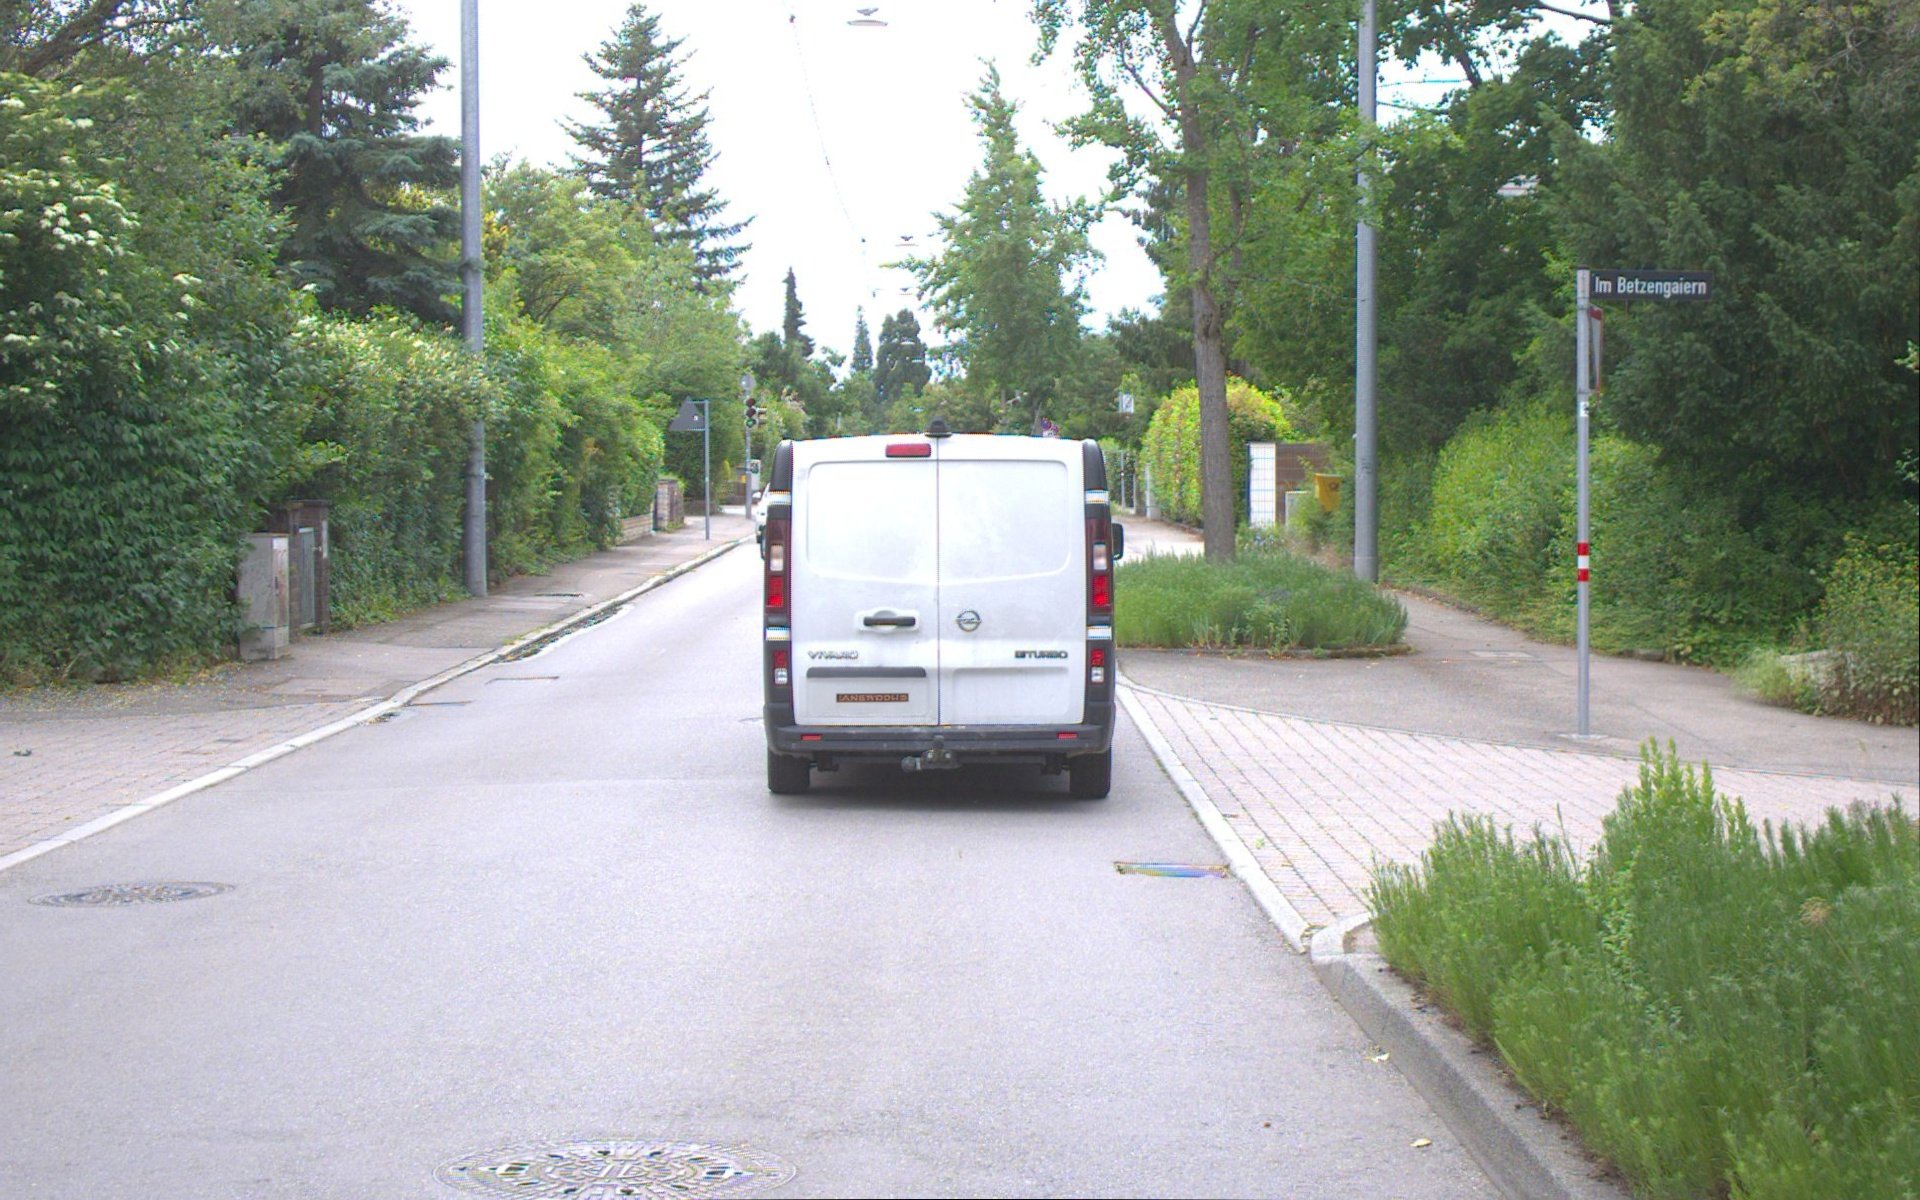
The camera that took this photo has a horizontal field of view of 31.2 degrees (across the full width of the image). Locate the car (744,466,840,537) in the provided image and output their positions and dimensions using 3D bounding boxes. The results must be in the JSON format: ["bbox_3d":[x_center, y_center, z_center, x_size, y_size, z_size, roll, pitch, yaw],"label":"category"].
[{"bbox_3d":[-3.635,-2.180,74.997,1.805,1.426,4.301,-2,2,0],"label":"car"}]

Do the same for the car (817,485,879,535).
[{"bbox_3d":[-3.424,-2.774,105.314,1.805,1.426,4.119,-3,2,-1],"label":"car"}]

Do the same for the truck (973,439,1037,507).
[{"bbox_3d":[1.670,-4.829,130.727,2.187,2.463,7.431,1,2,-1],"label":"truck"}]

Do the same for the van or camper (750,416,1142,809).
[{"bbox_3d":[-0.117,0.023,19.765,1.939,1.947,4.766,1,1,-1],"label":"van or camper"}]
